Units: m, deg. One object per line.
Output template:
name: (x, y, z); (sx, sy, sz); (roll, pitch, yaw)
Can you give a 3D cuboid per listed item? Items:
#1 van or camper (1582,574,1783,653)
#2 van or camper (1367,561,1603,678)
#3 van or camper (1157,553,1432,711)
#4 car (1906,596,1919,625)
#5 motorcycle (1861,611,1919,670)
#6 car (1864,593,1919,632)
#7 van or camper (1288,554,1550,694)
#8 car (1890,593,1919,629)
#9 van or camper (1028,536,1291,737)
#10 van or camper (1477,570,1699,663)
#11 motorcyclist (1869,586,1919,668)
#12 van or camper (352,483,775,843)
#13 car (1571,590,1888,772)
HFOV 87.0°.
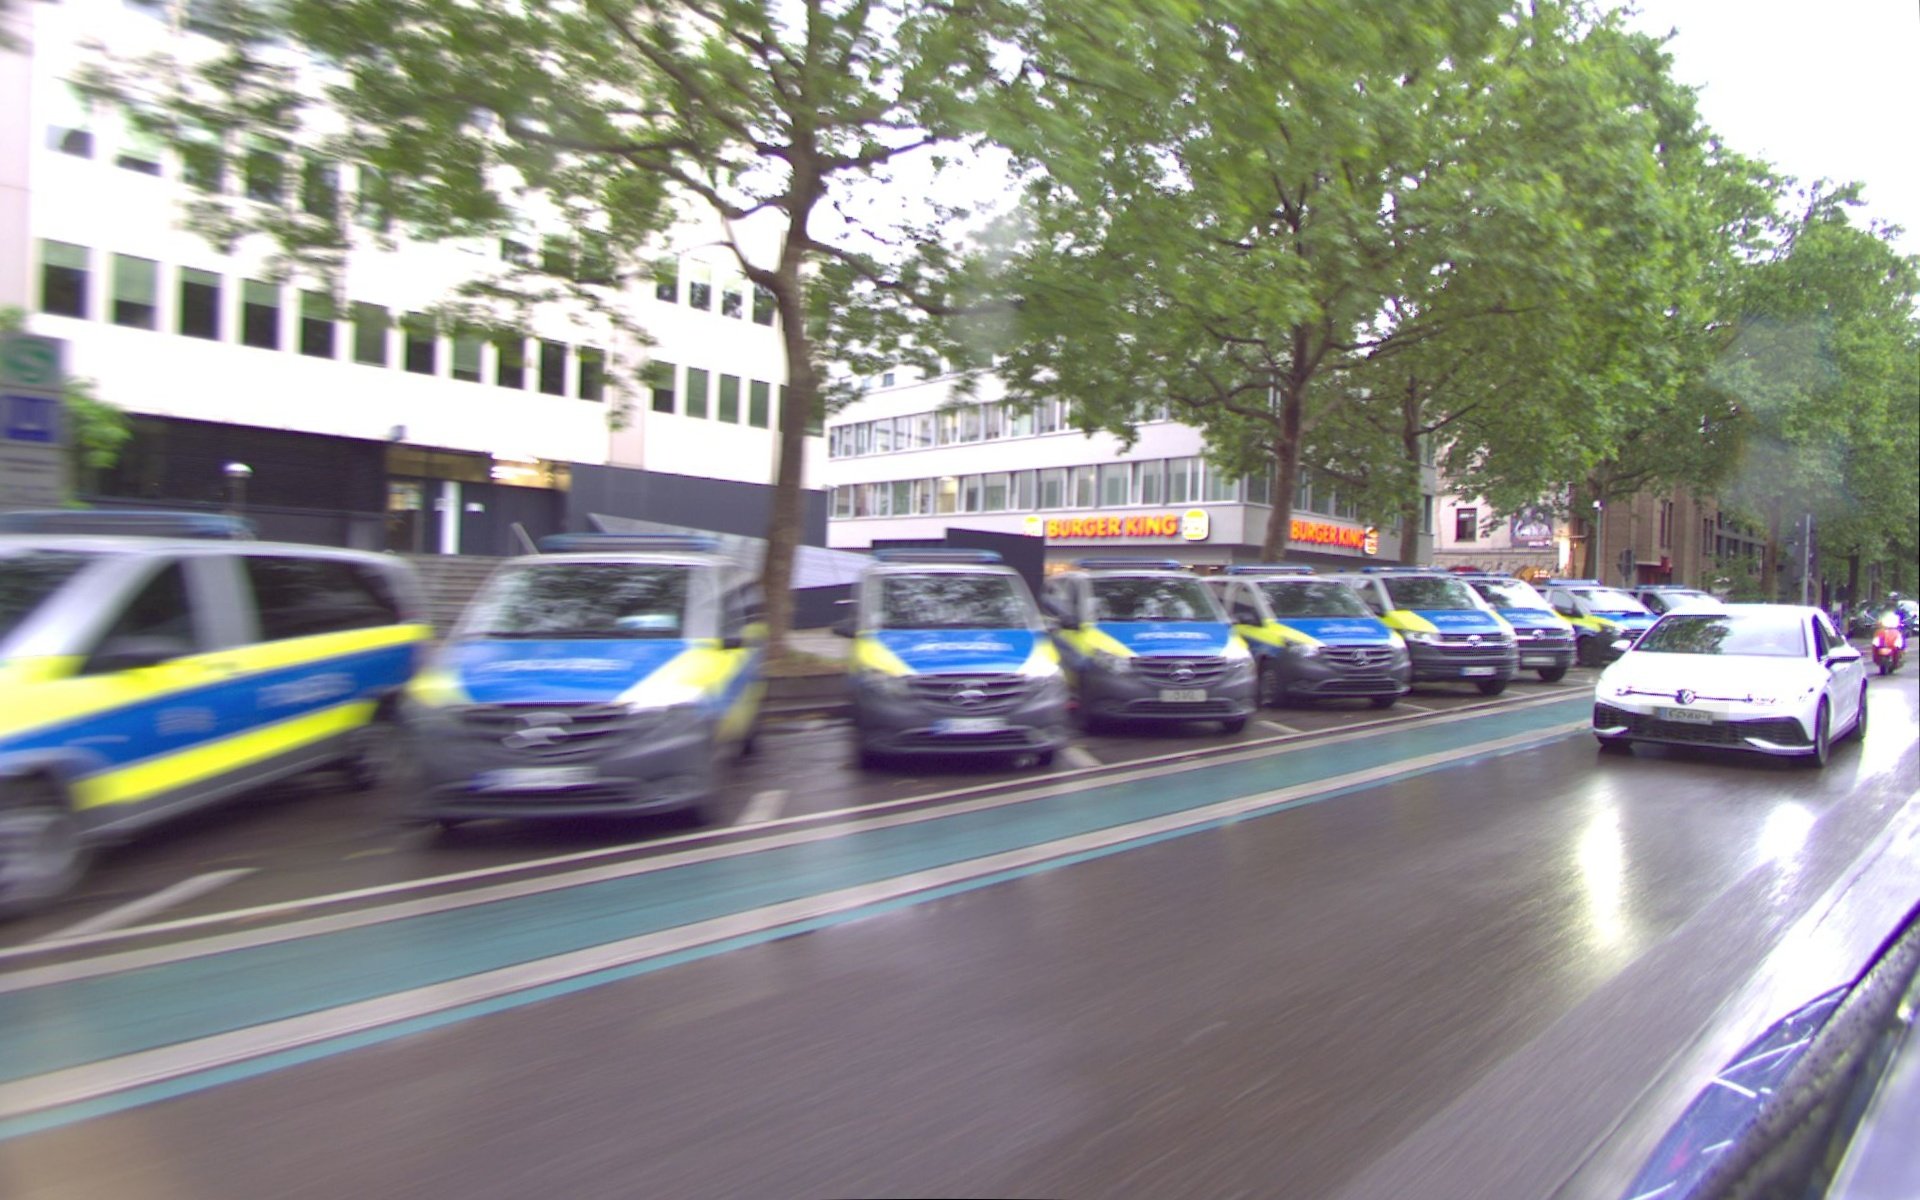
van or camper: (20.269, 0.339, 28.719); (1.963, 2.017, 4.950); (0, 0, -3)
van or camper: (10.063, 0.315, 19.947); (1.831, 2.023, 4.859); (0, 1, -4)
van or camper: (4.843, 0.369, 15.621); (1.959, 2.020, 5.032); (0, 1, -8)
car: (51.880, 0.540, 53.864); (4.505, 1.451, 1.745); (0, 0, -41)
motorcycle: (19.587, 0.816, 21.081); (0.862, 1.157, 1.999); (0, 0, 31)
car: (40.356, 0.507, 43.504); (4.349, 1.623, 1.795); (0, 0, -43)
van or camper: (7.493, 0.321, 17.187); (1.960, 2.036, 4.800); (0, 1, -5)
car: (44.234, 0.468, 46.758); (1.752, 1.605, 4.339); (0, 0, 44)
van or camper: (2.233, 0.343, 12.975); (2.064, 2.050, 5.112); (1, 1, -3)
van or camper: (15.080, 0.372, 24.753); (1.957, 2.045, 5.092); (0, 0, -4)
motorcyclist: (19.591, 0.554, 21.067); (0.842, 1.665, 0.862); (0, 0, 31)
van or camper: (-2.709, 0.331, 8.355); (1.960, 2.017, 5.215); (-1, 0, -6)
car: (8.095, 0.653, 10.479); (4.433, 1.463, 1.864); (0, 1, -43)
